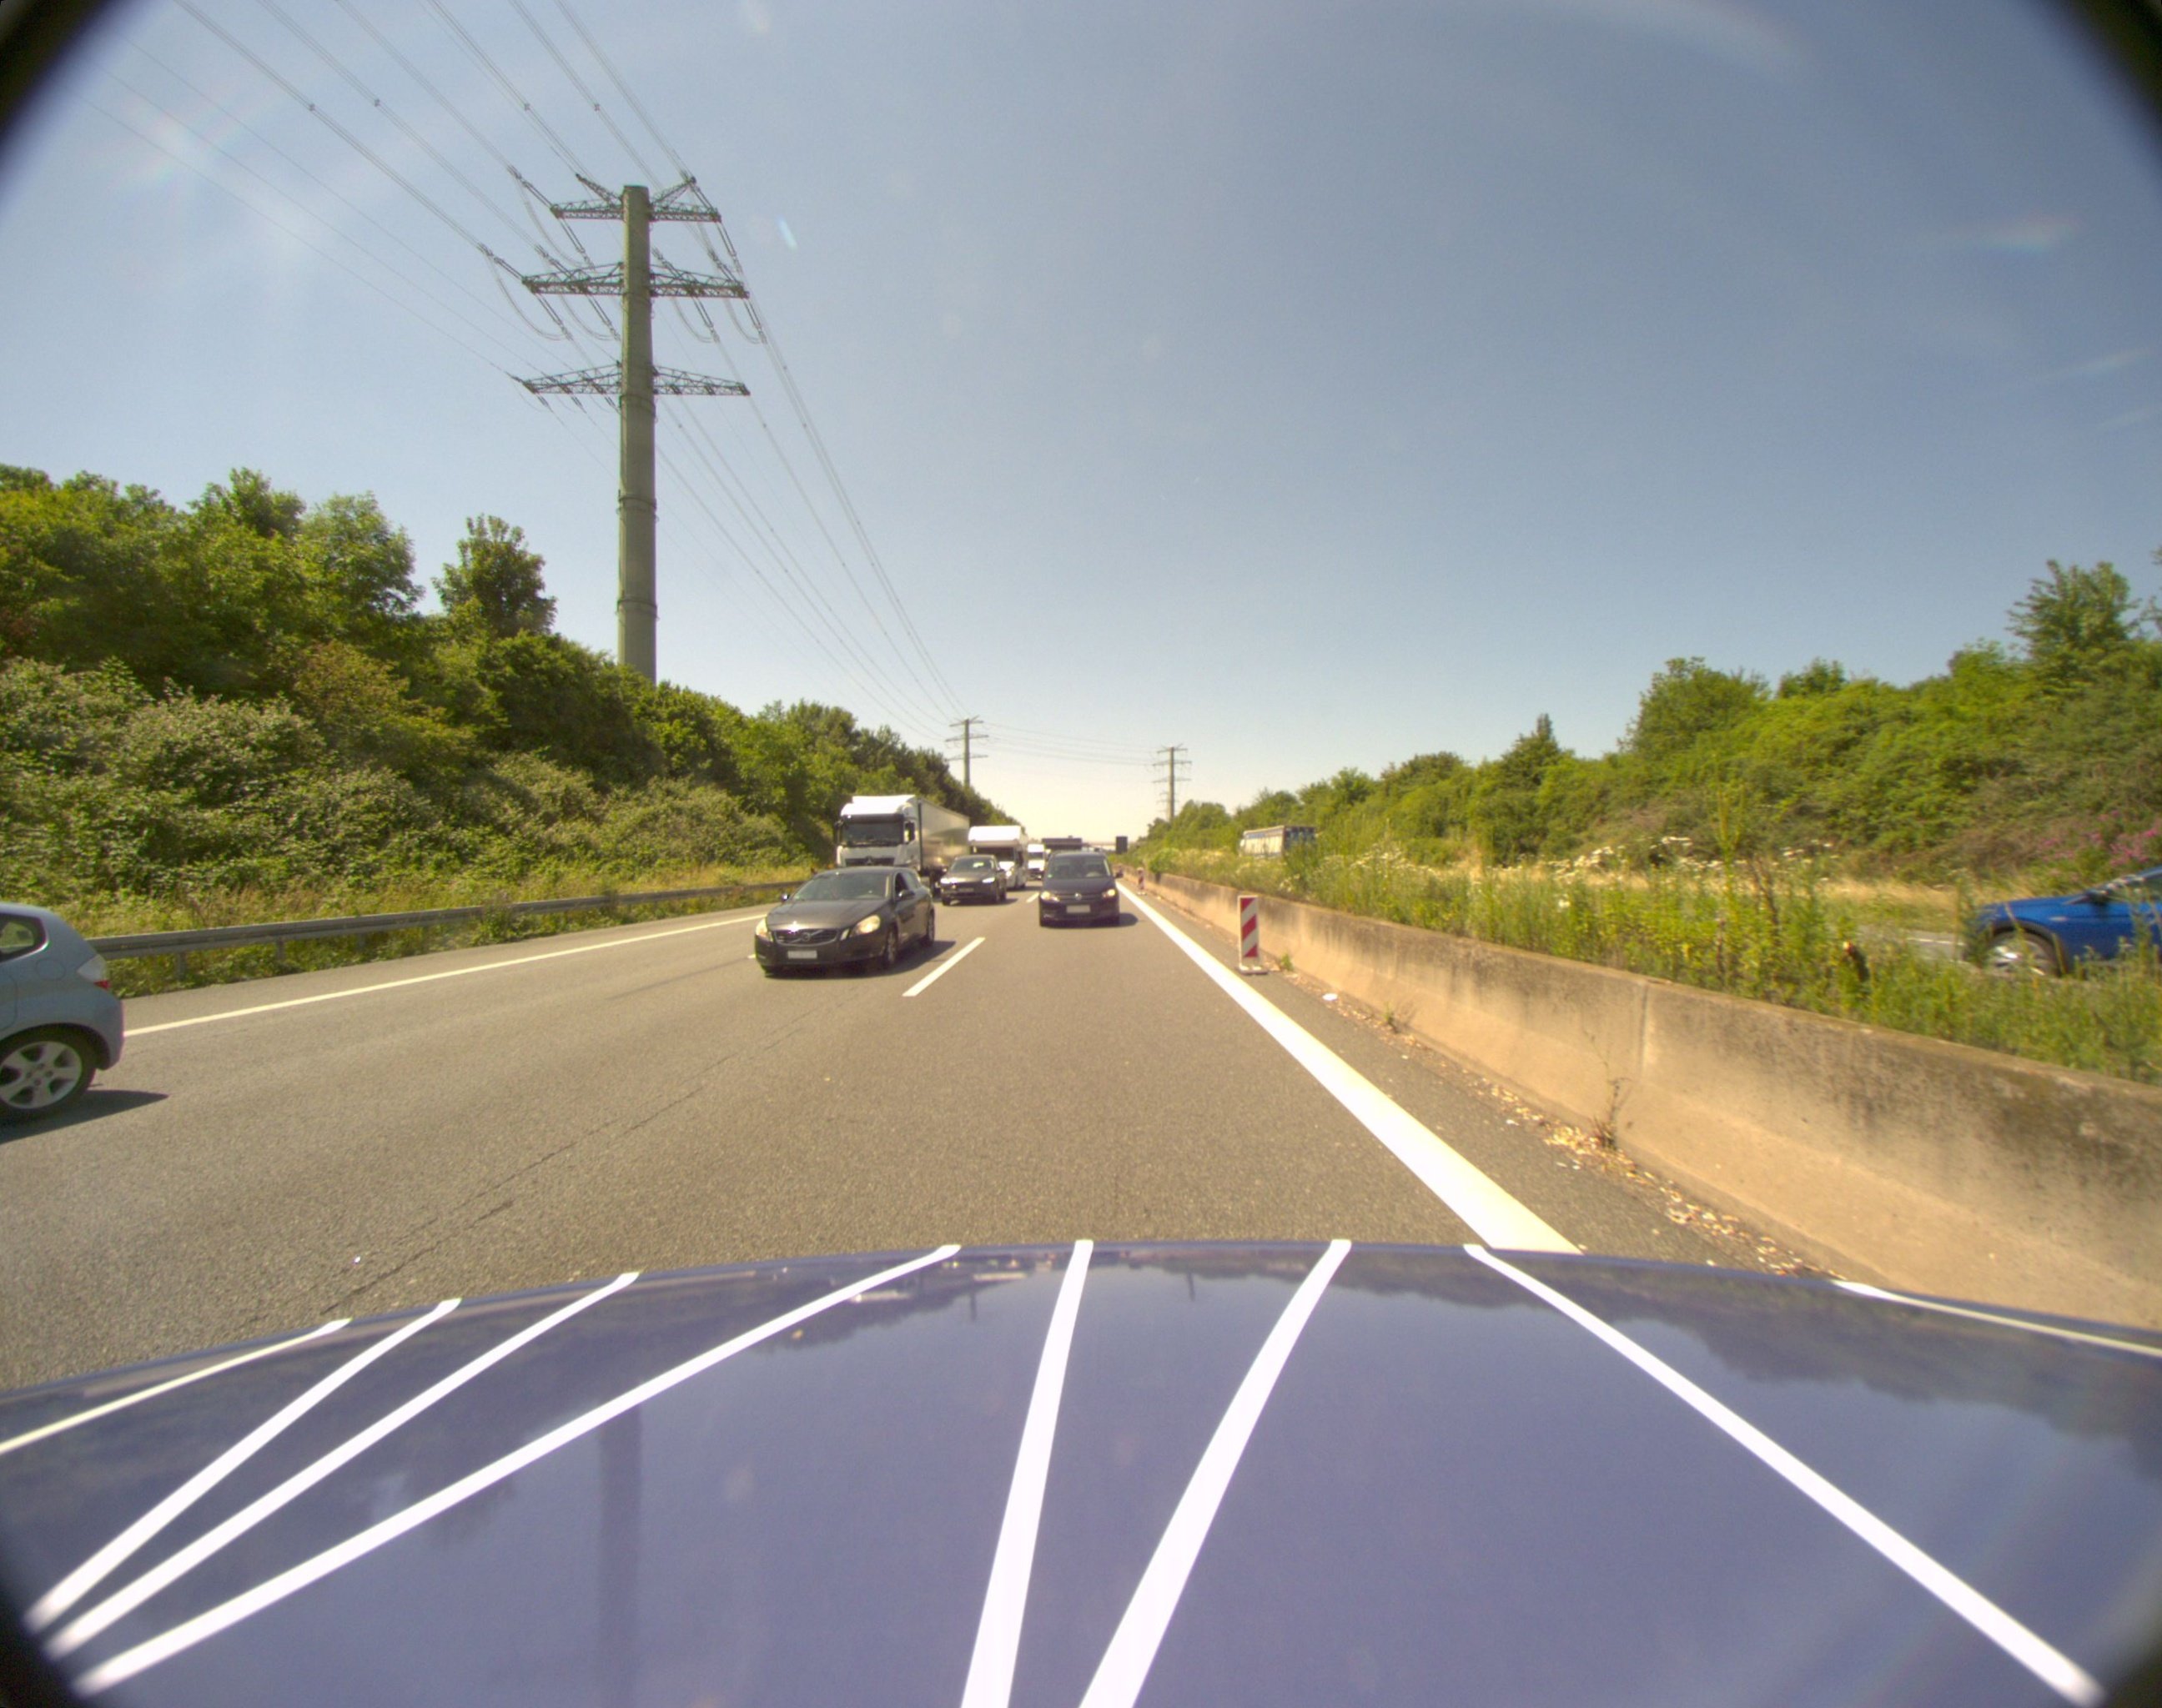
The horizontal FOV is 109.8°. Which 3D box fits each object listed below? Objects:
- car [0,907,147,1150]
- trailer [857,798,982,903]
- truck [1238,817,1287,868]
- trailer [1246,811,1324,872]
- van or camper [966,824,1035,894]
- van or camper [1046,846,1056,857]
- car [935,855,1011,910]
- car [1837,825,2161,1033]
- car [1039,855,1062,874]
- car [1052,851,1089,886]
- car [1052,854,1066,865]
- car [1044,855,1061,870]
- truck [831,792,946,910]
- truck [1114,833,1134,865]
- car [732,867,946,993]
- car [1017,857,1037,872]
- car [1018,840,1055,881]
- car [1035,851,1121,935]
[{"bbox_3d":[-7.534,1.144,3.488,1.705,1.440,3.787,-2,1,1],"label":"car"},{"bbox_3d":[-7.178,-0.207,36.313,2.790,4.024,13.110,-2,1,1],"label":"trailer"},{"bbox_3d":[16.512,-1.073,69.621,2.952,4.367,6.074,-2,1,1],"label":"truck"},{"bbox_3d":[16.399,-0.994,62.210,2.967,4.378,12.905,-2,1,1],"label":"trailer"},{"bbox_3d":[-3.805,0.168,37.660,2.375,3.026,7.632,-2,1,1],"label":"van or camper"},{"bbox_3d":[-6.941,-0.612,178.714,1.978,2.511,4.369,-2,1,1],"label":"van or camper"},{"bbox_3d":[-3.617,0.908,26.212,1.893,1.602,4.219,-2,1,1],"label":"car"},{"bbox_3d":[11.603,0.707,8.662,1.998,2.002,4.000,-2,1,1],"label":"car"},{"bbox_3d":[-2.673,0.893,67.307,1.720,1.510,3.874,-2,1,1],"label":"car"},{"bbox_3d":[-0.485,0.695,39.011,1.700,1.641,4.219,-2,1,1],"label":"car"},{"bbox_3d":[-3.075,0.758,105.507,1.720,1.510,3.874,-2,1,1],"label":"car"},{"bbox_3d":[-3.349,0.978,89.541,1.720,1.510,3.874,-2,1,1],"label":"car"},{"bbox_3d":[-7.286,-0.134,29.654,2.740,4.024,5.793,-2,1,1],"label":"truck"},{"bbox_3d":[4.622,-0.550,81.998,1.892,3.264,5.590,-2,1,2],"label":"truck"},{"bbox_3d":[-3.477,1.006,11.917,1.799,1.411,4.509,-2,1,1],"label":"car"},{"bbox_3d":[-5.829,1.099,82.596,1.720,1.510,3.874,-2,1,1],"label":"car"},{"bbox_3d":[-3.078,0.412,54.227,2.042,2.703,6.705,-2,1,1],"label":"car"},{"bbox_3d":[-0.028,0.787,17.757,1.700,1.641,4.219,-2,1,1],"label":"car"}]
